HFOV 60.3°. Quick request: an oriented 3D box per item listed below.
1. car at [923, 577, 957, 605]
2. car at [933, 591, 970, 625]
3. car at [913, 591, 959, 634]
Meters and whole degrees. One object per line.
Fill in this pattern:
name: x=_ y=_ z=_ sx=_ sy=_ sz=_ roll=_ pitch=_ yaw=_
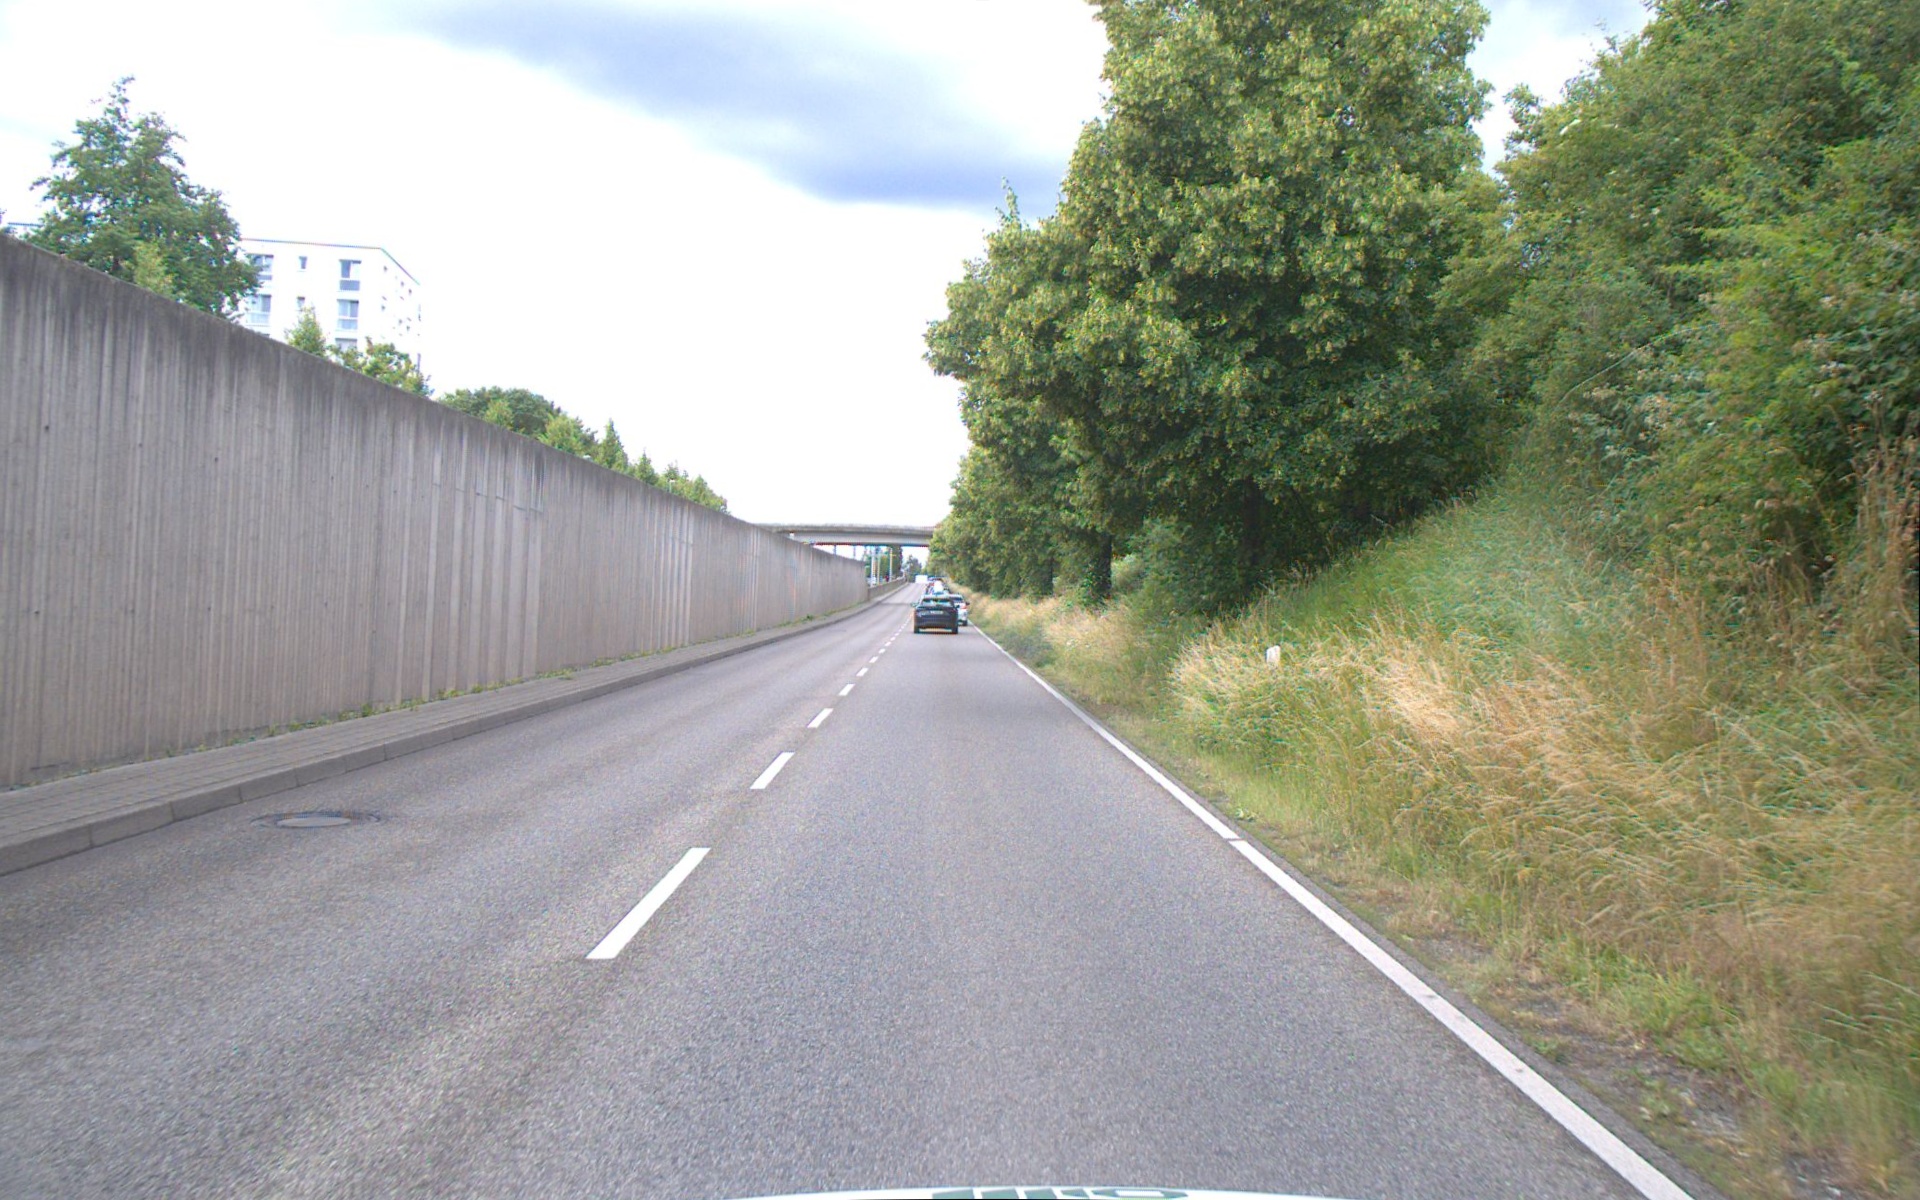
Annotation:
car: x=-1.209 y=-0.559 z=99.541 sx=1.829 sy=1.516 sz=4.255 roll=4 pitch=0 yaw=-3
car: x=-0.439 y=0.417 z=80.069 sx=1.719 sy=1.550 sz=4.035 roll=-1 pitch=-1 yaw=-1
car: x=-0.954 y=0.521 z=64.880 sx=1.719 sy=1.550 sz=4.035 roll=1 pitch=-2 yaw=-1
